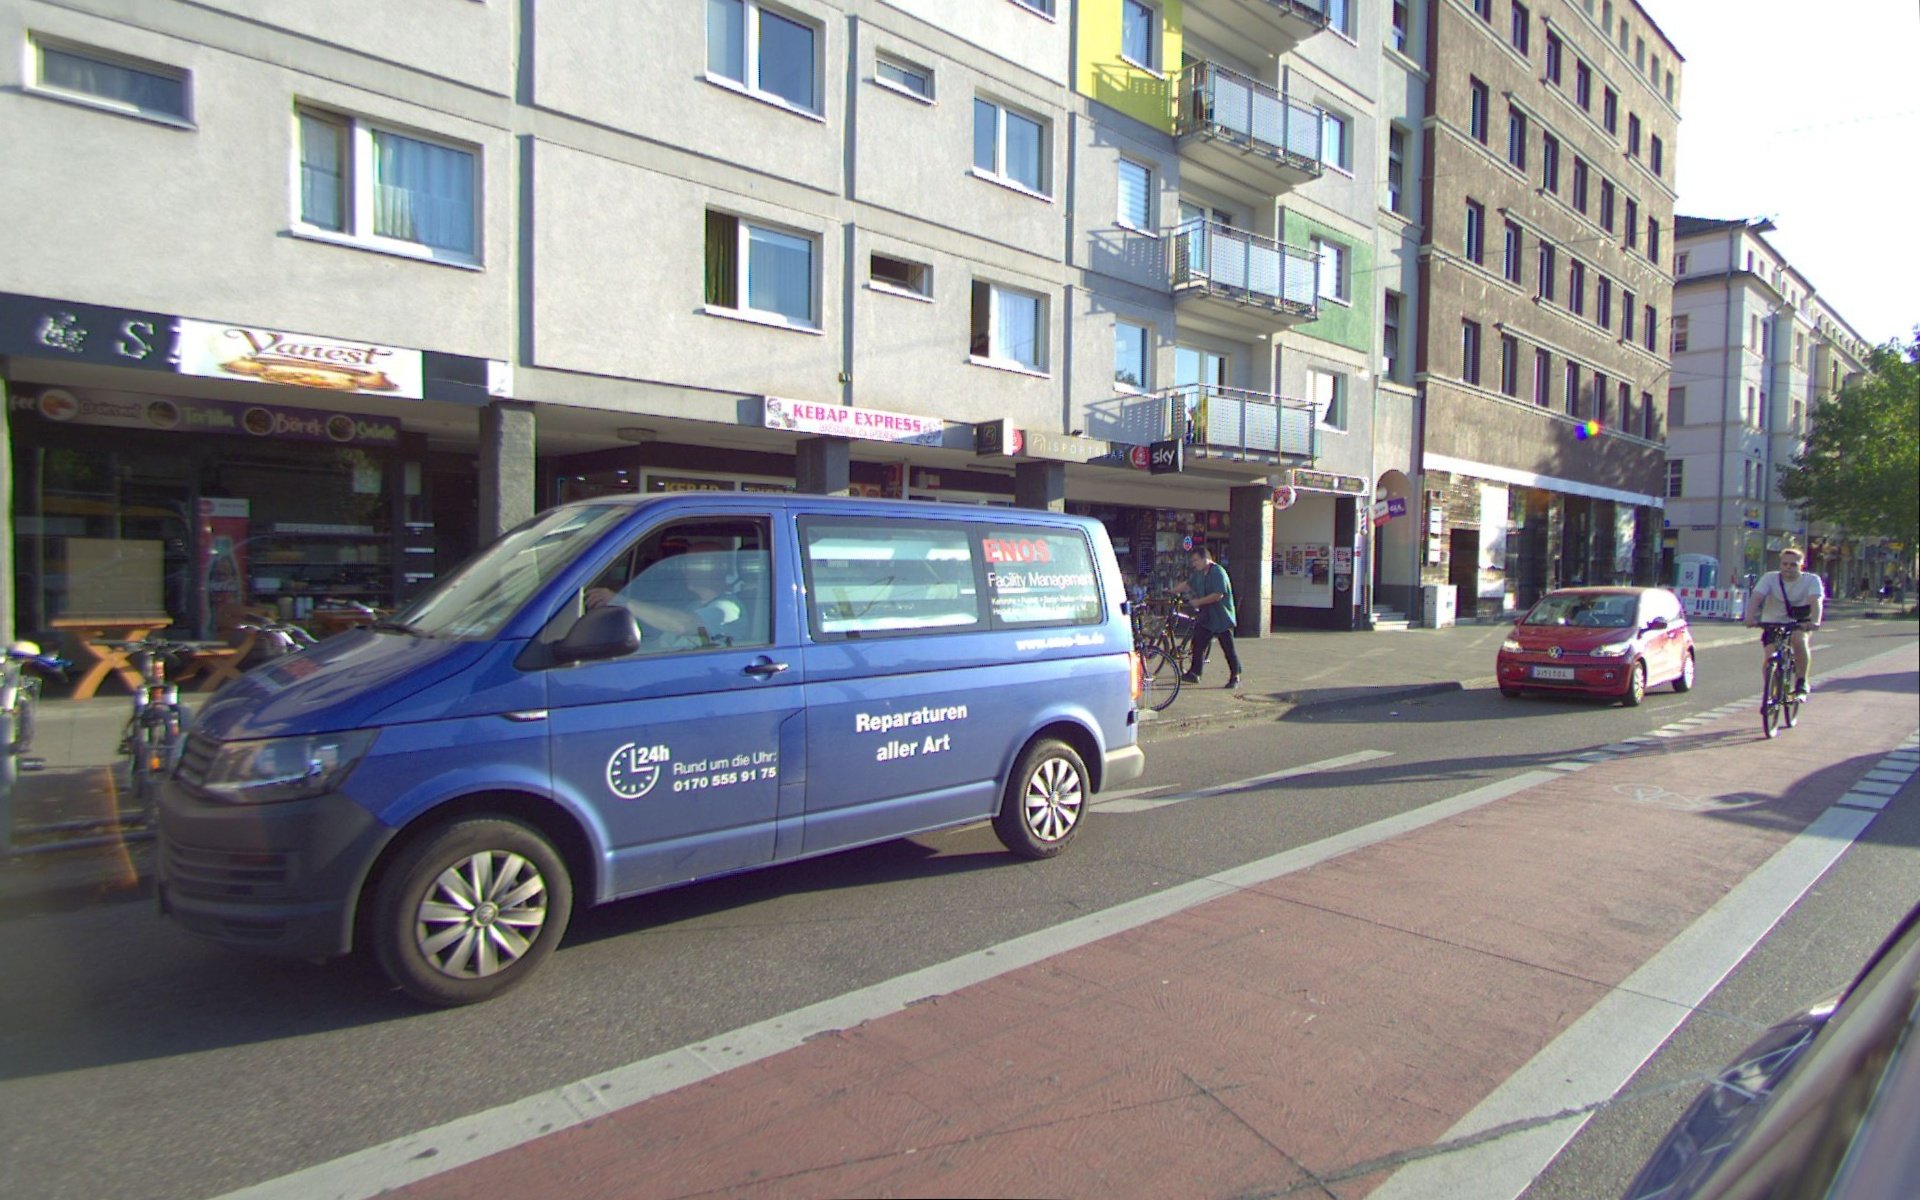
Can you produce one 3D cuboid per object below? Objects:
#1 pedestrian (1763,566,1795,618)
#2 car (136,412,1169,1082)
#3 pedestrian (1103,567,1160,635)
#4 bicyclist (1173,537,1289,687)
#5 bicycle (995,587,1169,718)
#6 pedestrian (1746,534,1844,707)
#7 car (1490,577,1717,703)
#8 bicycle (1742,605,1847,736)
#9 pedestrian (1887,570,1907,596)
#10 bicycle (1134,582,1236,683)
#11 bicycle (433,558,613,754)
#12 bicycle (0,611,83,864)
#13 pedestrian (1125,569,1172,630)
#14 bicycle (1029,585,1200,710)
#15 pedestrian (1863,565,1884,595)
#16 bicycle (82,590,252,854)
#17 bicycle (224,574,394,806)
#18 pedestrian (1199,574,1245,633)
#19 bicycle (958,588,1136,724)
[{"bbox_3d":[25.915,-0.262,32.017,0.869,1.615,0.602,-1,2,-41],"label":"pedestrian"},{"bbox_3d":[-1.183,0.367,5.244,4.748,1.957,1.940,-1,2,-41],"label":"car"},{"bbox_3d":[3.417,-0.004,20.116,0.937,1.311,0.646,-1,2,-38],"label":"pedestrian"},{"bbox_3d":[3.416,0.128,12.883,1.365,1.830,0.741,1,1,13],"label":"bicyclist"},{"bbox_3d":[1.250,0.503,10.720,0.559,1.139,1.870,-1,5,-43],"label":"bicycle"},{"bbox_3d":[8.488,0.188,10.283,0.828,1.669,0.639,-1,1,-41],"label":"pedestrian"},{"bbox_3d":[8.878,0.452,13.876,3.477,1.499,1.686,-1,1,-40],"label":"car"},{"bbox_3d":[8.483,0.664,10.265,1.817,1.173,0.529,-1,1,-41],"label":"bicycle"},{"bbox_3d":[52.323,-0.956,56.505,0.908,1.457,0.727,-1,2,-42],"label":"pedestrian"},{"bbox_3d":[3.007,0.386,13.380,0.565,1.191,1.849,5,4,36],"label":"bicycle"},{"bbox_3d":[-3.150,0.320,7.188,0.559,1.139,1.870,-1,5,-43],"label":"bicycle"},{"bbox_3d":[-5.033,0.641,5.318,0.597,1.074,1.870,-1,2,-42],"label":"bicycle"},{"bbox_3d":[3.963,-0.016,21.305,0.635,1.246,0.727,-1,2,-39],"label":"pedestrian"},{"bbox_3d":[1.656,0.471,11.114,0.559,1.139,1.870,-1,5,-43],"label":"bicycle"},{"bbox_3d":[51.876,-1.135,57.468,0.908,1.696,0.727,-1,2,-42],"label":"pedestrian"},{"bbox_3d":[-4.554,0.586,5.763,0.597,1.139,1.870,-1,5,-43],"label":"bicycle"},{"bbox_3d":[-4.100,0.467,6.306,0.559,1.139,1.870,-1,5,-43],"label":"bicycle"},{"bbox_3d":[5.405,0.061,20.866,0.715,1.166,0.605,-1,2,-41],"label":"pedestrian"},{"bbox_3d":[0.841,0.512,10.333,0.559,1.139,1.870,-1,5,-43],"label":"bicycle"}]
